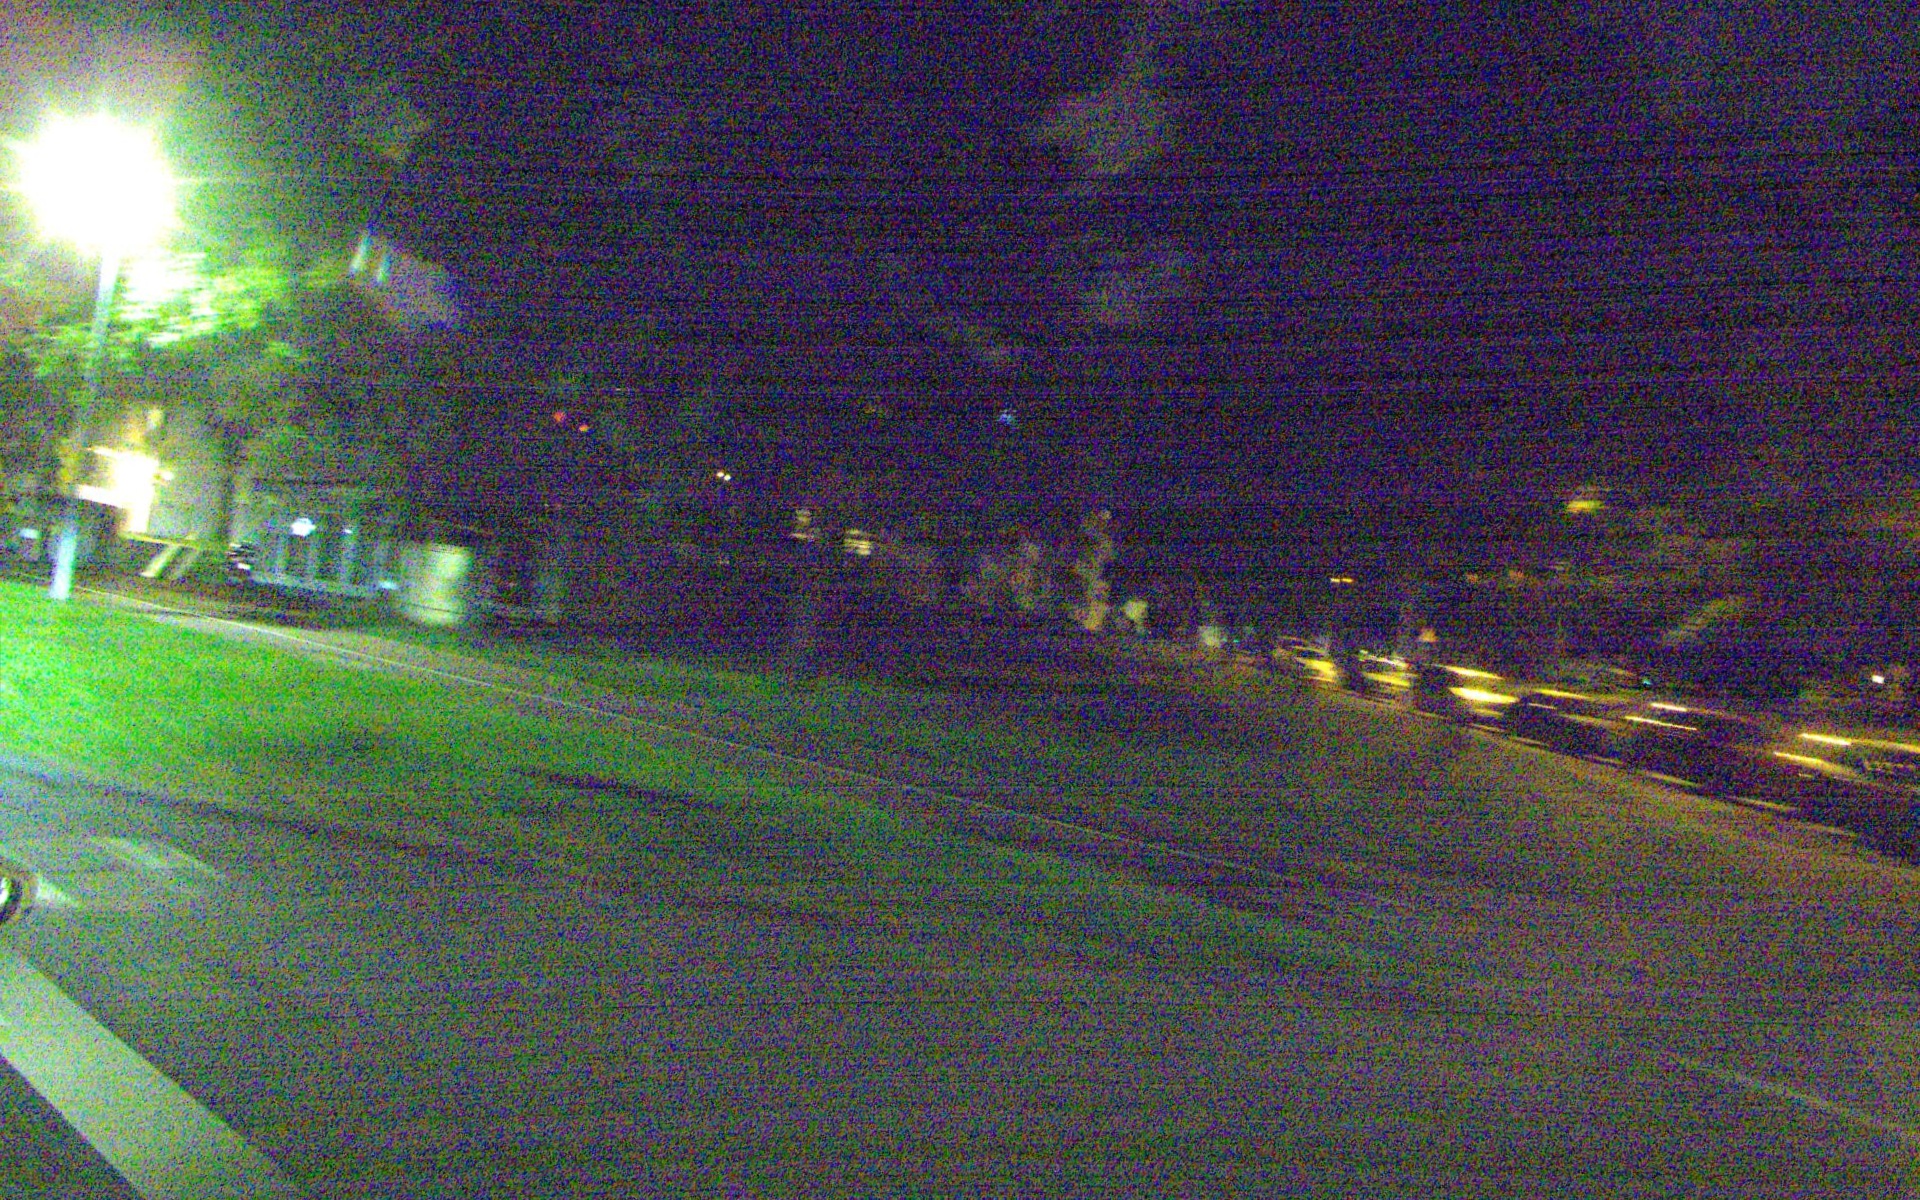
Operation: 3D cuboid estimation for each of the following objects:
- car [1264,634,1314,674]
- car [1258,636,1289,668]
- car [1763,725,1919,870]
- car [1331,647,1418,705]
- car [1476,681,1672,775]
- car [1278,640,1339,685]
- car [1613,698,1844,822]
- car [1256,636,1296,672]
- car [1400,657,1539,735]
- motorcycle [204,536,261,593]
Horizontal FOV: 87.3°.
[{"bbox_3d":[16.657,2.701,51.126,1.804,1.691,4.416,7,-1,13],"label":"car"},{"bbox_3d":[18.584,3.067,59.746,1.434,1.691,3.474,7,0,16],"label":"car"},{"bbox_3d":[12.969,2.712,13.656,1.829,1.497,3.633,7,0,16],"label":"car"},{"bbox_3d":[14.985,2.709,36.575,1.637,1.691,3.542,7,0,2],"label":"car"},{"bbox_3d":[14.394,2.947,23.963,1.730,1.492,4.711,7,-1,2],"label":"car"},{"bbox_3d":[15.546,2.753,45.066,1.636,1.691,3.431,7,0,6],"label":"car"},{"bbox_3d":[13.910,2.812,18.540,1.582,1.567,4.035,7,0,11],"label":"car"},{"bbox_3d":[17.342,2.935,55.320,1.546,1.691,4.099,7,0,13],"label":"car"},{"bbox_3d":[14.626,2.705,29.175,1.730,1.691,4.329,7,0,2],"label":"car"},{"bbox_3d":[-20.230,-1.010,28.016,1.064,1.342,2.681,9,-1,-34],"label":"motorcycle"}]
